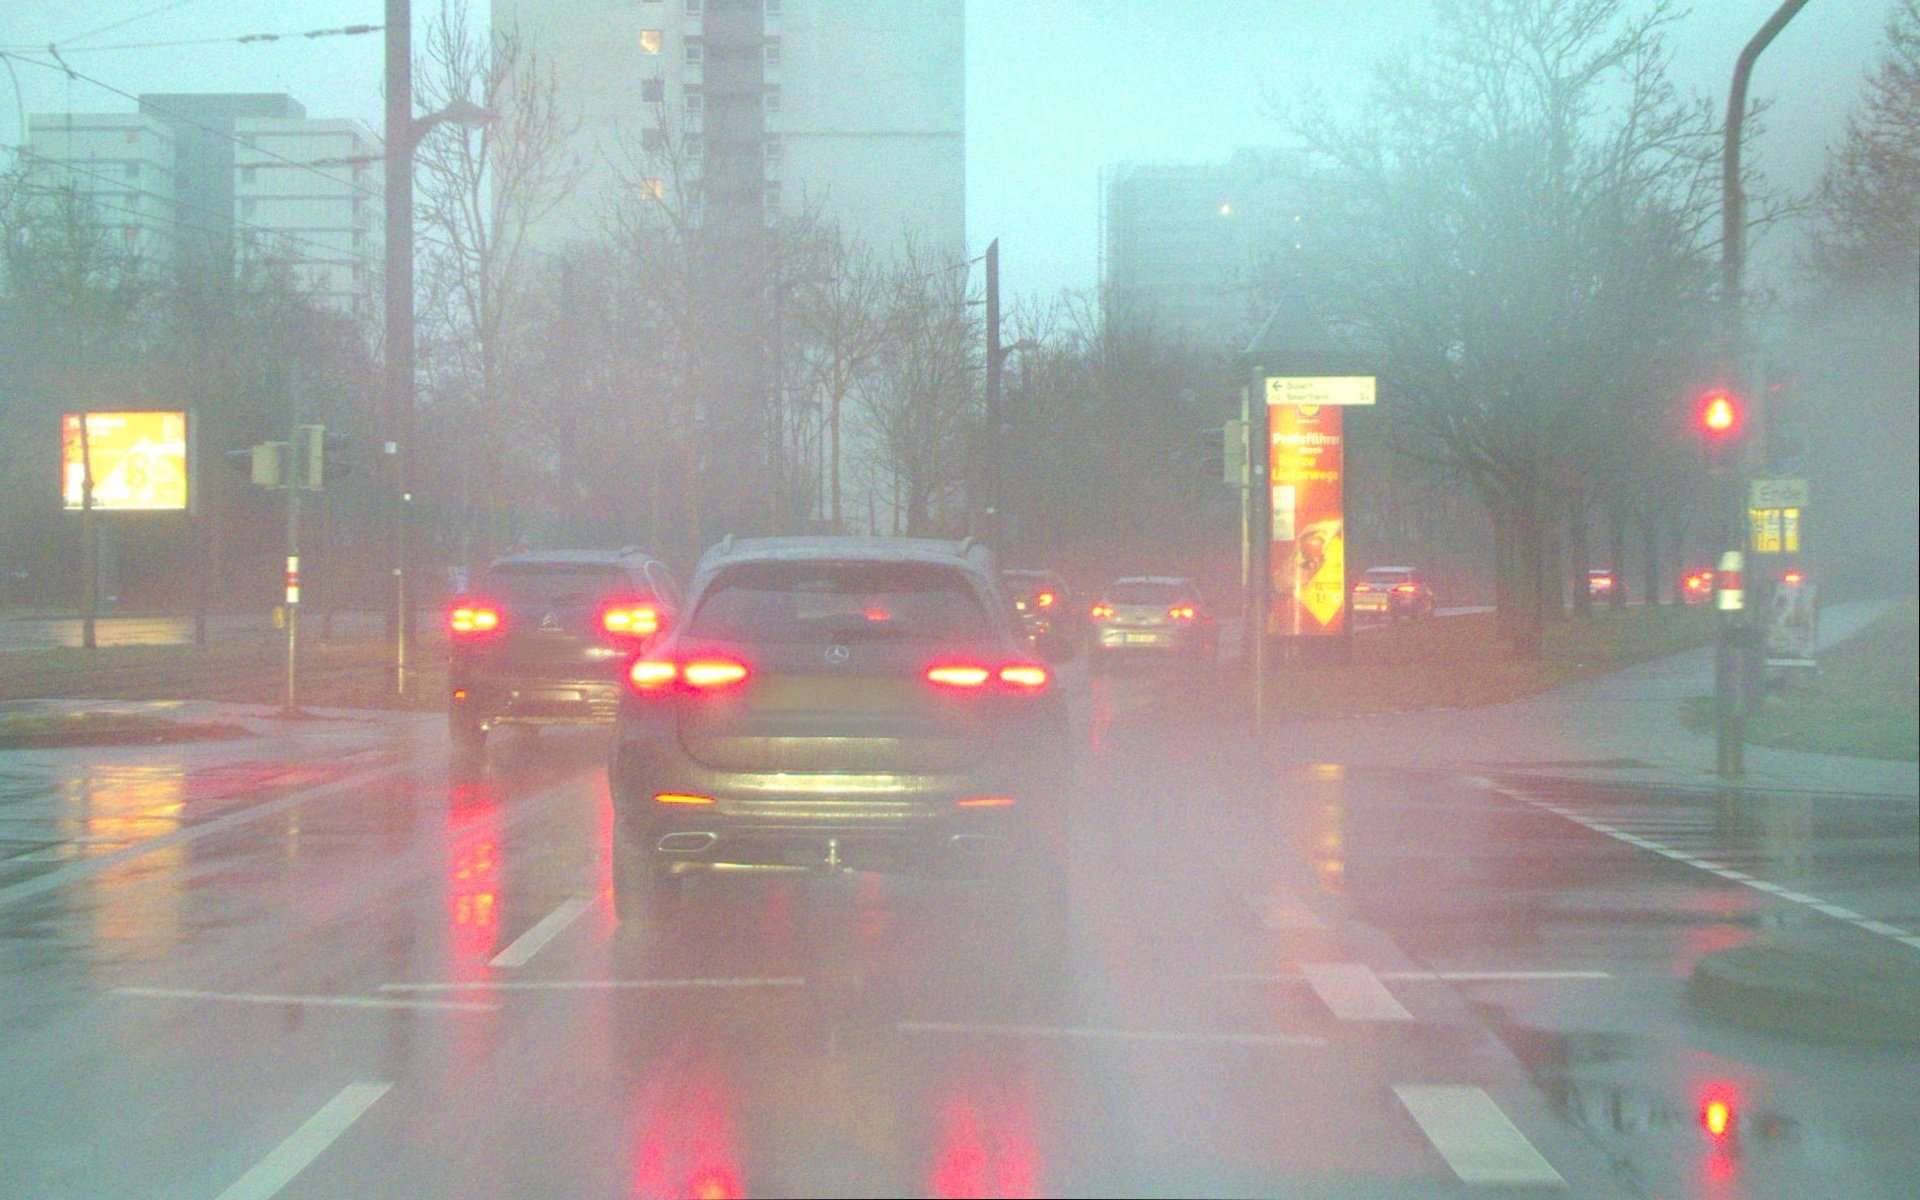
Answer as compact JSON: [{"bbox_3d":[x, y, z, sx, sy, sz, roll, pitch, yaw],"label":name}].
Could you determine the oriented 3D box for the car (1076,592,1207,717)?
[{"bbox_3d":[2.968,0.870,55.588,1.857,1.885,3.999,2,0,6],"label":"car"}]

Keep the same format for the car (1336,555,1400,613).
[{"bbox_3d":[11.075,-0.423,93.409,1.535,1.508,3.342,2,0,4],"label":"car"}]

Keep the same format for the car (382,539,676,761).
[{"bbox_3d":[-3.601,0.414,29.468,1.993,1.706,4.324,2,0,-1],"label":"car"}]

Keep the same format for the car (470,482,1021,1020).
[{"bbox_3d":[-0.775,0.583,15.004,1.993,1.969,4.068,2,0,2],"label":"car"}]

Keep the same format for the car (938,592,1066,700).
[{"bbox_3d":[0.807,0.851,63.441,1.773,1.885,3.641,2,0,9],"label":"car"}]
